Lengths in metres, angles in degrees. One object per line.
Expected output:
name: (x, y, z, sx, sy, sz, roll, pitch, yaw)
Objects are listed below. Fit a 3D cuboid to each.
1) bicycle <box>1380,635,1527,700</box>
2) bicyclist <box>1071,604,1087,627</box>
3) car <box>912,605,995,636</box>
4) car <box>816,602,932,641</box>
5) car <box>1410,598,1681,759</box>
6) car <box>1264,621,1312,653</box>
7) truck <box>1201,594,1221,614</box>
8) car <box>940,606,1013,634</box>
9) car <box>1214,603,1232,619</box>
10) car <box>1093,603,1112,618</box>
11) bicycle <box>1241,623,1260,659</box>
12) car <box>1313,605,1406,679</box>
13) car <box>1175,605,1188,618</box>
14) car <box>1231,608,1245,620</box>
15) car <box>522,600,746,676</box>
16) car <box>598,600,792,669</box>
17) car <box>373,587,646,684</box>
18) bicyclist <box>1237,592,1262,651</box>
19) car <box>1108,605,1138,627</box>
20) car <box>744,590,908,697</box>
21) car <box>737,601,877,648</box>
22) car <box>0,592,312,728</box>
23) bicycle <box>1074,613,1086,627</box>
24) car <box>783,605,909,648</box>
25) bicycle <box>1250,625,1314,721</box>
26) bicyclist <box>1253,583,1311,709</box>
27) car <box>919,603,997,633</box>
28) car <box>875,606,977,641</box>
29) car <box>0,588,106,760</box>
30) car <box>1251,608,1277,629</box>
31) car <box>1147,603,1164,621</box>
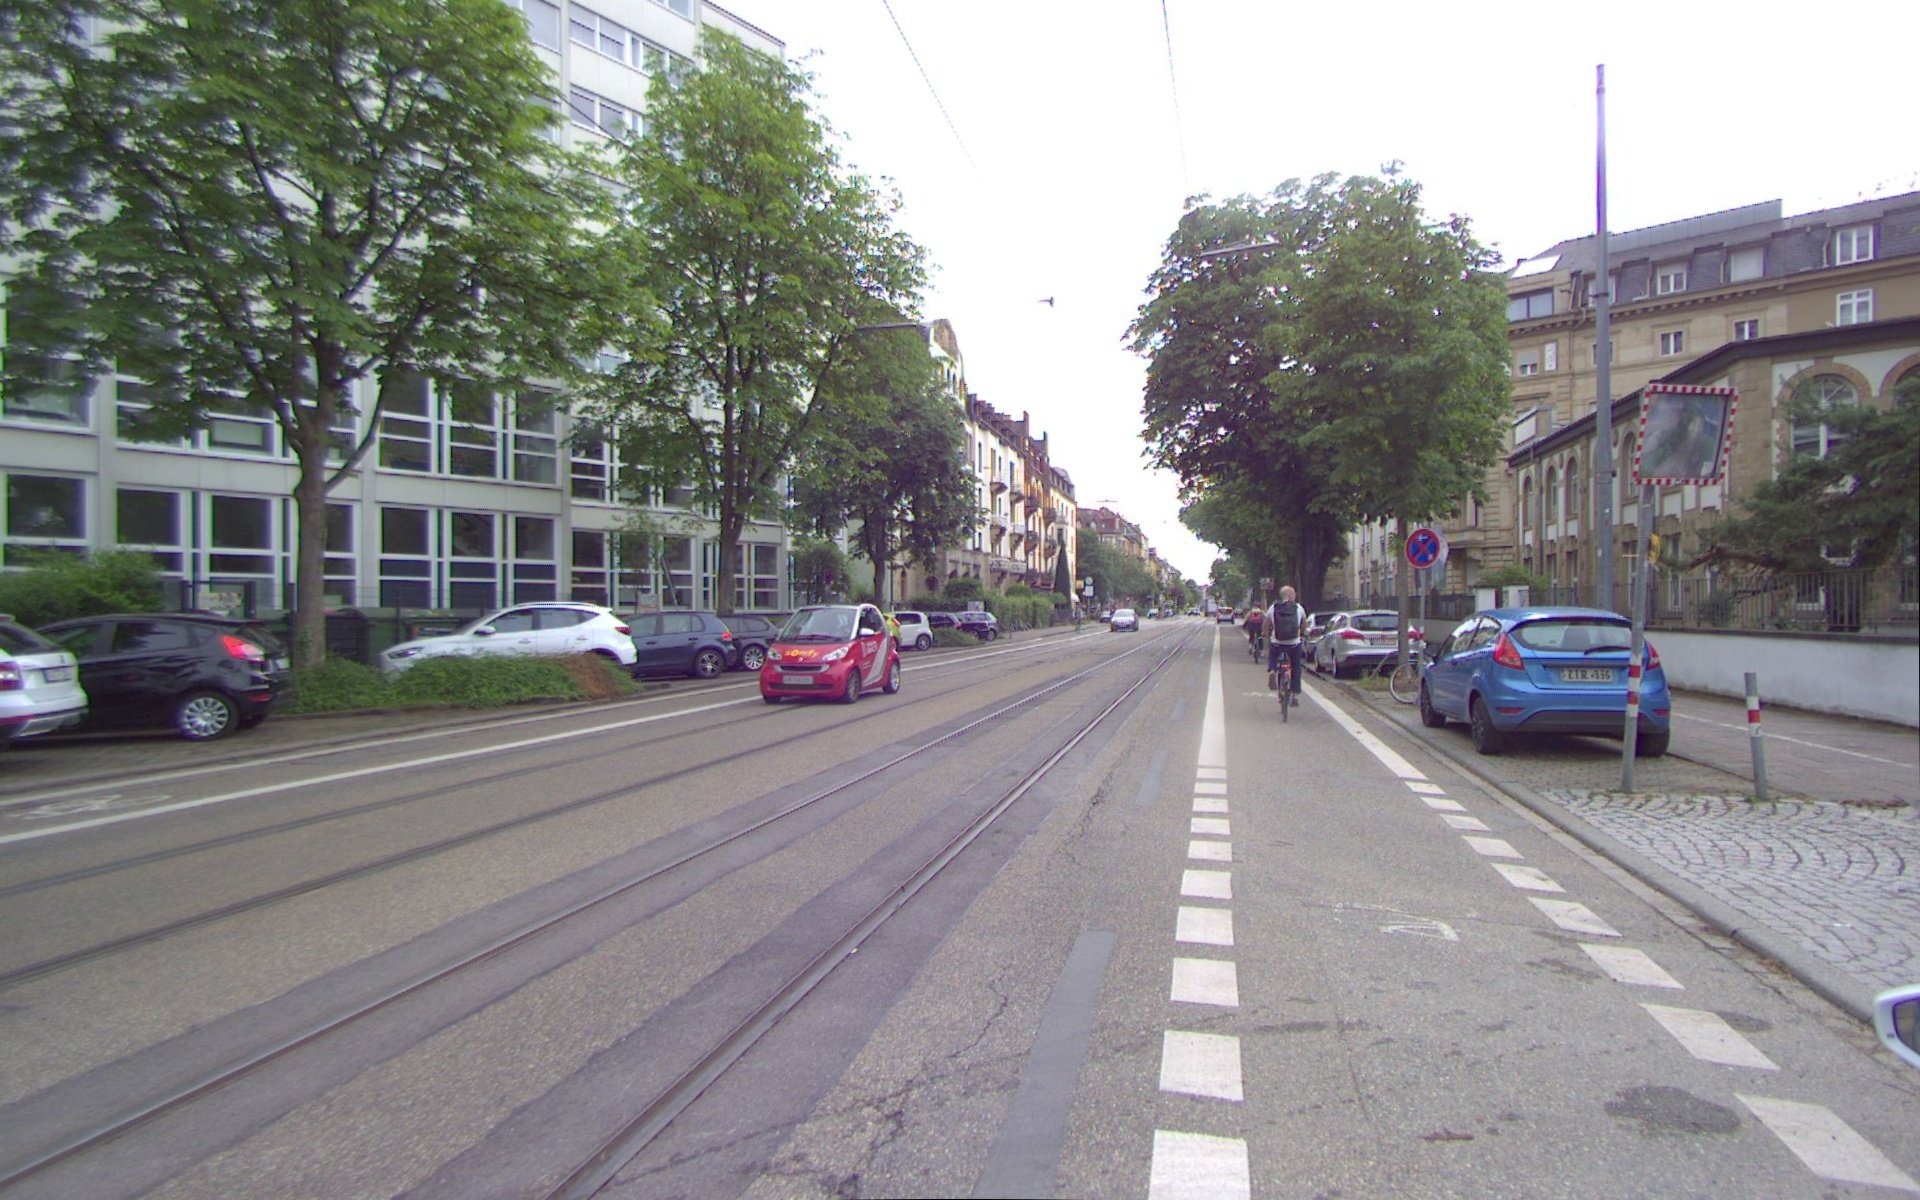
bicycle: (7.619, 1.035, 15.576, 1.978, 0.970, 0.534, -1, 0, 11)
bicyclist: (7.722, 1.000, 65.242, 0.829, 1.520, 1.027, -1, 0, 16)
car: (-0.330, 0.957, 47.476, 3.652, 1.404, 1.697, 1, 0, -9)
car: (-3.159, 0.797, 36.985, 3.922, 1.370, 1.686, 1, 0, -31)
car: (6.196, 0.751, 11.061, 1.645, 1.480, 3.434, -2, -1, 14)
car: (14.198, 1.595, 43.642, 1.842, 1.268, 4.001, -1, -1, 17)
truck: (52.621, 0.832, 210.873, 3.743, 4.083, 10.224, -1, 0, 11)
car: (0.865, 1.034, 53.279, 3.652, 1.404, 1.697, 1, 0, -9)
car: (29.753, 1.263, 113.725, 1.781, 1.731, 3.700, 0, -1, 17)
car: (20.765, 1.523, 146.342, 2.141, 2.236, 4.220, -1, 0, 15)
bicycle: (8.241, 1.153, 28.510, 0.481, 0.992, 2.058, 1, -1, 16)
car: (8.901, 0.871, 22.595, 1.450, 1.500, 3.567, 1, 0, 14)
car: (40.257, 2.036, 182.690, 2.168, 2.285, 4.002, -1, 0, 15)
car: (47.077, 2.430, 170.229, 1.959, 2.040, 4.003, 1, -1, 12)
car: (-6.921, 0.779, 21.471, 4.296, 1.473, 1.686, 1, 0, -31)
car: (-6.459, 0.817, 24.597, 4.296, 1.556, 1.686, 1, 0, -31)
car: (-8.120, 0.606, 18.268, 4.302, 1.576, 1.684, 1, 0, -34)
bicyclist: (8.141, 0.611, 28.261, 0.647, 1.632, 0.920, 0, 0, 16)
car: (10.972, 1.062, 67.379, 1.711, 1.448, 4.002, -1, 0, 13)
car: (-2.072, 0.655, 16.230, 1.648, 1.542, 2.783, 0, -1, 16)
car: (-4.701, 0.754, 31.009, 3.922, 1.370, 1.686, 1, 0, -31)
car: (-9.988, 0.639, 11.575, 3.971, 1.424, 1.690, 1, 0, -23)
bicycle: (7.796, 1.318, 65.419, 0.461, 0.880, 2.139, -1, 0, 15)
car: (-3.881, 0.910, 34.247, 3.922, 1.370, 1.686, 1, 0, -31)
bicycle: (4.353, 0.935, 13.523, 0.653, 1.132, 1.865, 2, 0, 22)
bicyclist: (4.277, 0.580, 13.299, 0.651, 1.590, 0.985, 1, 0, 22)
car: (-0.122, 0.902, 50.309, 3.652, 1.404, 1.697, 1, 0, -9)
car: (-1.416, 0.988, 41.874, 3.922, 1.370, 1.686, 1, 0, -31)
car: (-10.385, 0.617, 8.872, 3.971, 1.504, 1.690, 1, 0, -23)
car: (21.144, 1.249, 69.871, 1.639, 1.417, 3.662, -1, 0, 17)
car: (27.289, 1.665, 140.320, 2.167, 2.449, 4.002, -1, 0, 13)
